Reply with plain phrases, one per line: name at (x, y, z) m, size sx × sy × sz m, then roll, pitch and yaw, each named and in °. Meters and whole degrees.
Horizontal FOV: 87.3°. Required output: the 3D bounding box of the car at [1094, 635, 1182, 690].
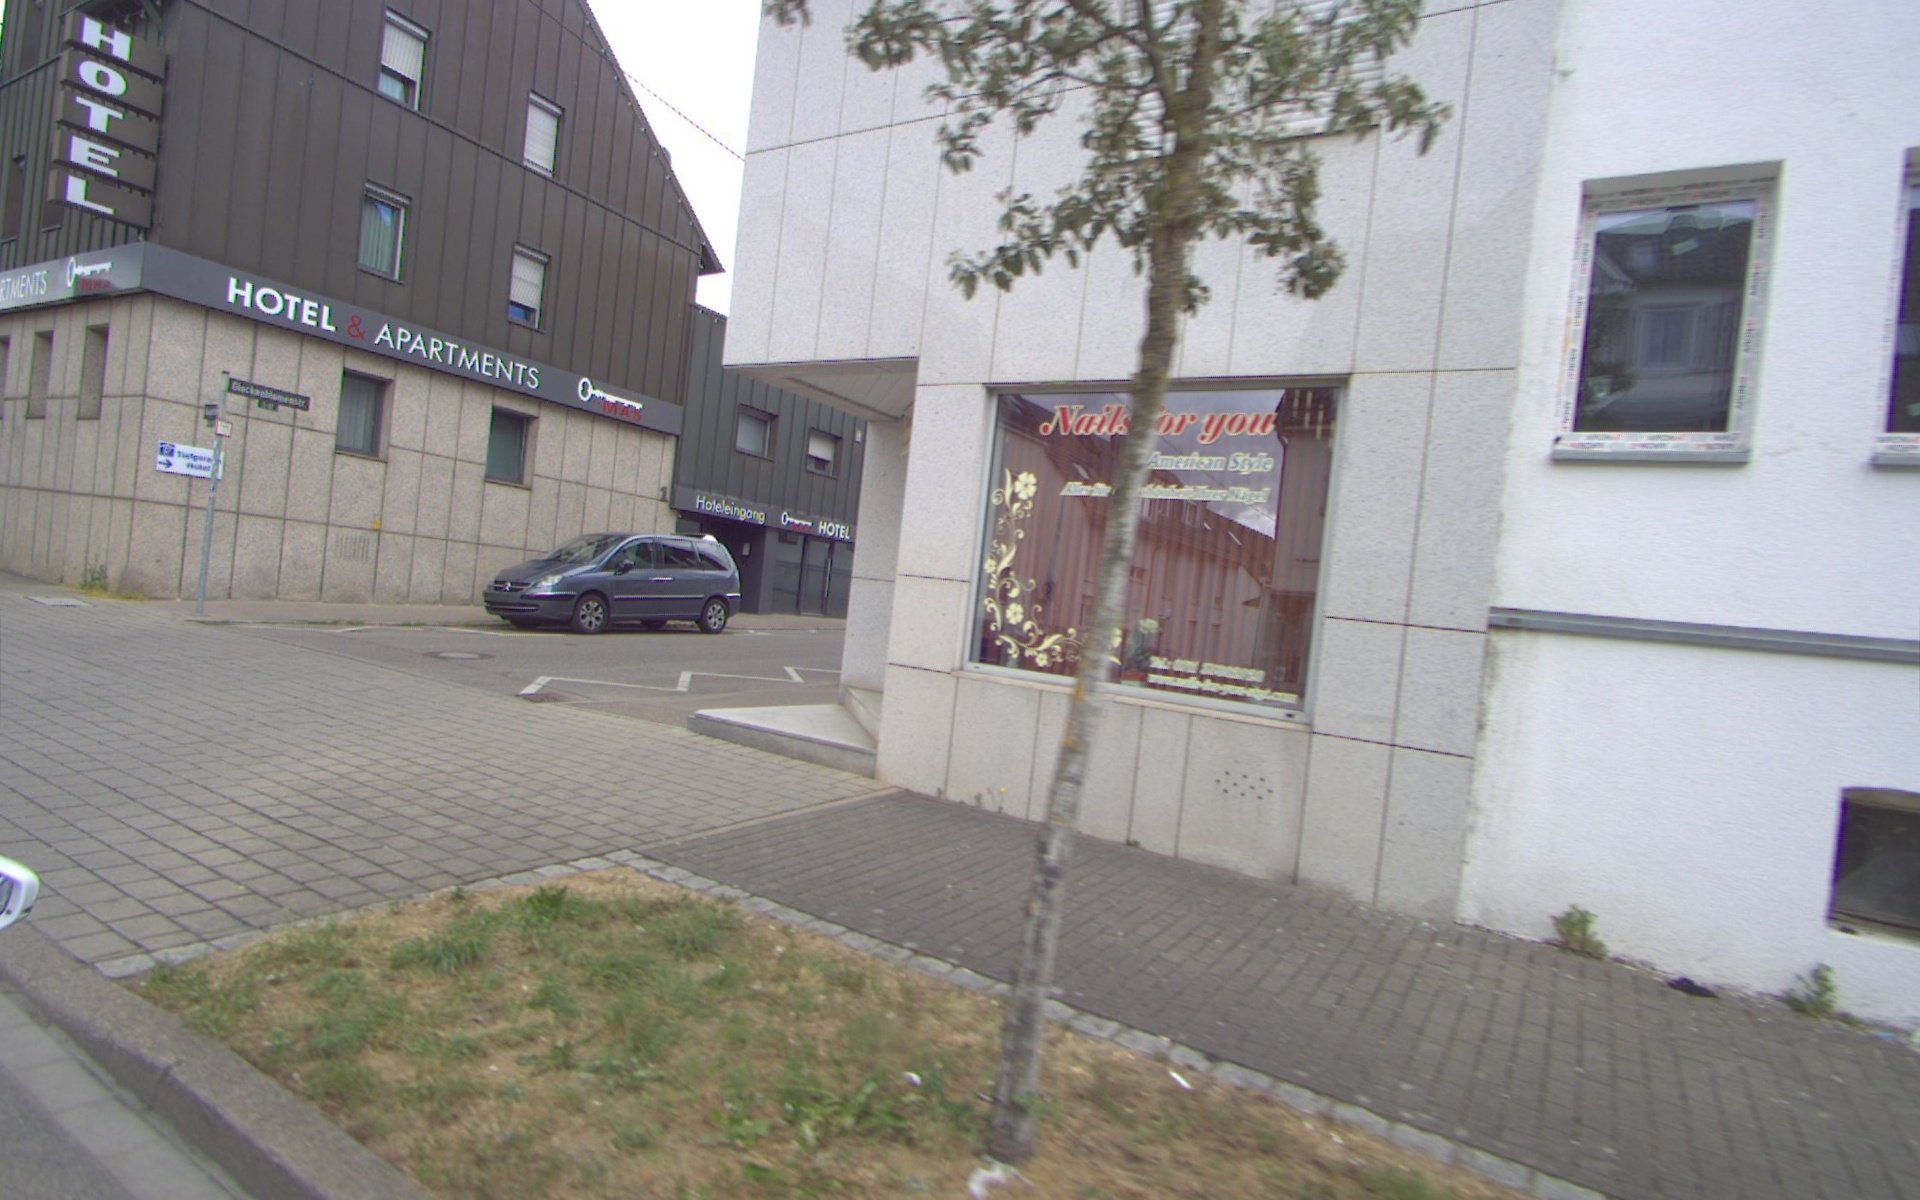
car at (7.045, 2.484, 39.507) m, size 1.839 × 1.793 × 4.409 m, roll 7°, pitch -1°, yaw 30°

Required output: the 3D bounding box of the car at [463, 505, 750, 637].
car at (-5.965, -0.412, 17.573) m, size 1.897 × 1.891 × 4.484 m, roll 7°, pitch 2°, yaw 29°

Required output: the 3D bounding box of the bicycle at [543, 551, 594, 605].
bicycle at (-7.683, -0.430, 19.739) m, size 0.620 × 0.986 × 0.606 m, roll 7°, pitch 3°, yaw 32°
